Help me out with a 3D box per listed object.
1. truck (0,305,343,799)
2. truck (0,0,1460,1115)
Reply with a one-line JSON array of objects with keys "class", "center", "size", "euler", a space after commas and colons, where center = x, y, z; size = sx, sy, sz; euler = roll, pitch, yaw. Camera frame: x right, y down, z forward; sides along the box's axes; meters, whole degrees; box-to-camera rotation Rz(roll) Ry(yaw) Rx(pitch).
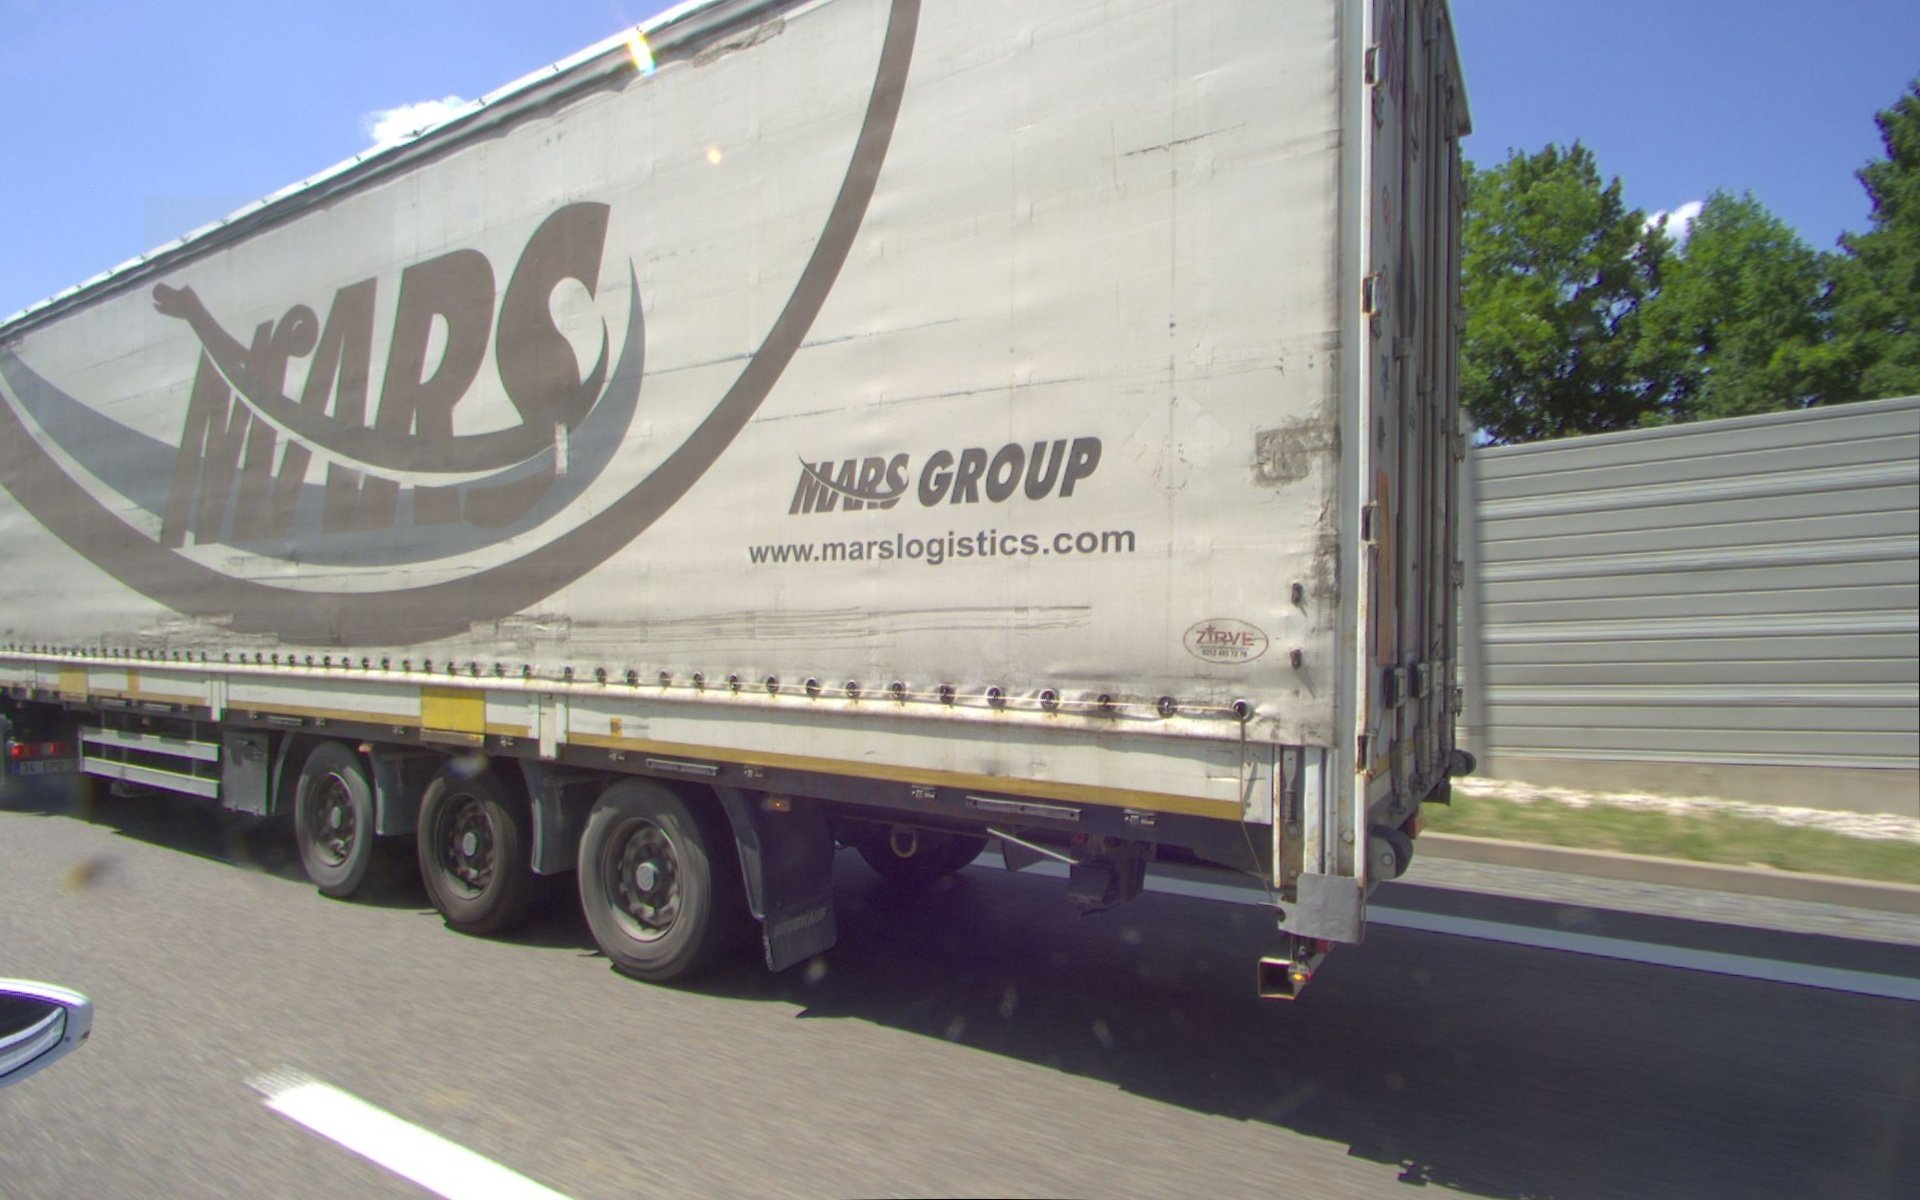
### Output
[{"class": "truck", "center": [-9.663, -0.274, 11.000], "size": [5.673, 4.119, 2.715], "euler": [-2, -2, 32]}, {"class": "truck", "center": [-4.005, -0.490, 7.399], "size": [13.547, 4.119, 2.721], "euler": [-2, -2, 32]}]
